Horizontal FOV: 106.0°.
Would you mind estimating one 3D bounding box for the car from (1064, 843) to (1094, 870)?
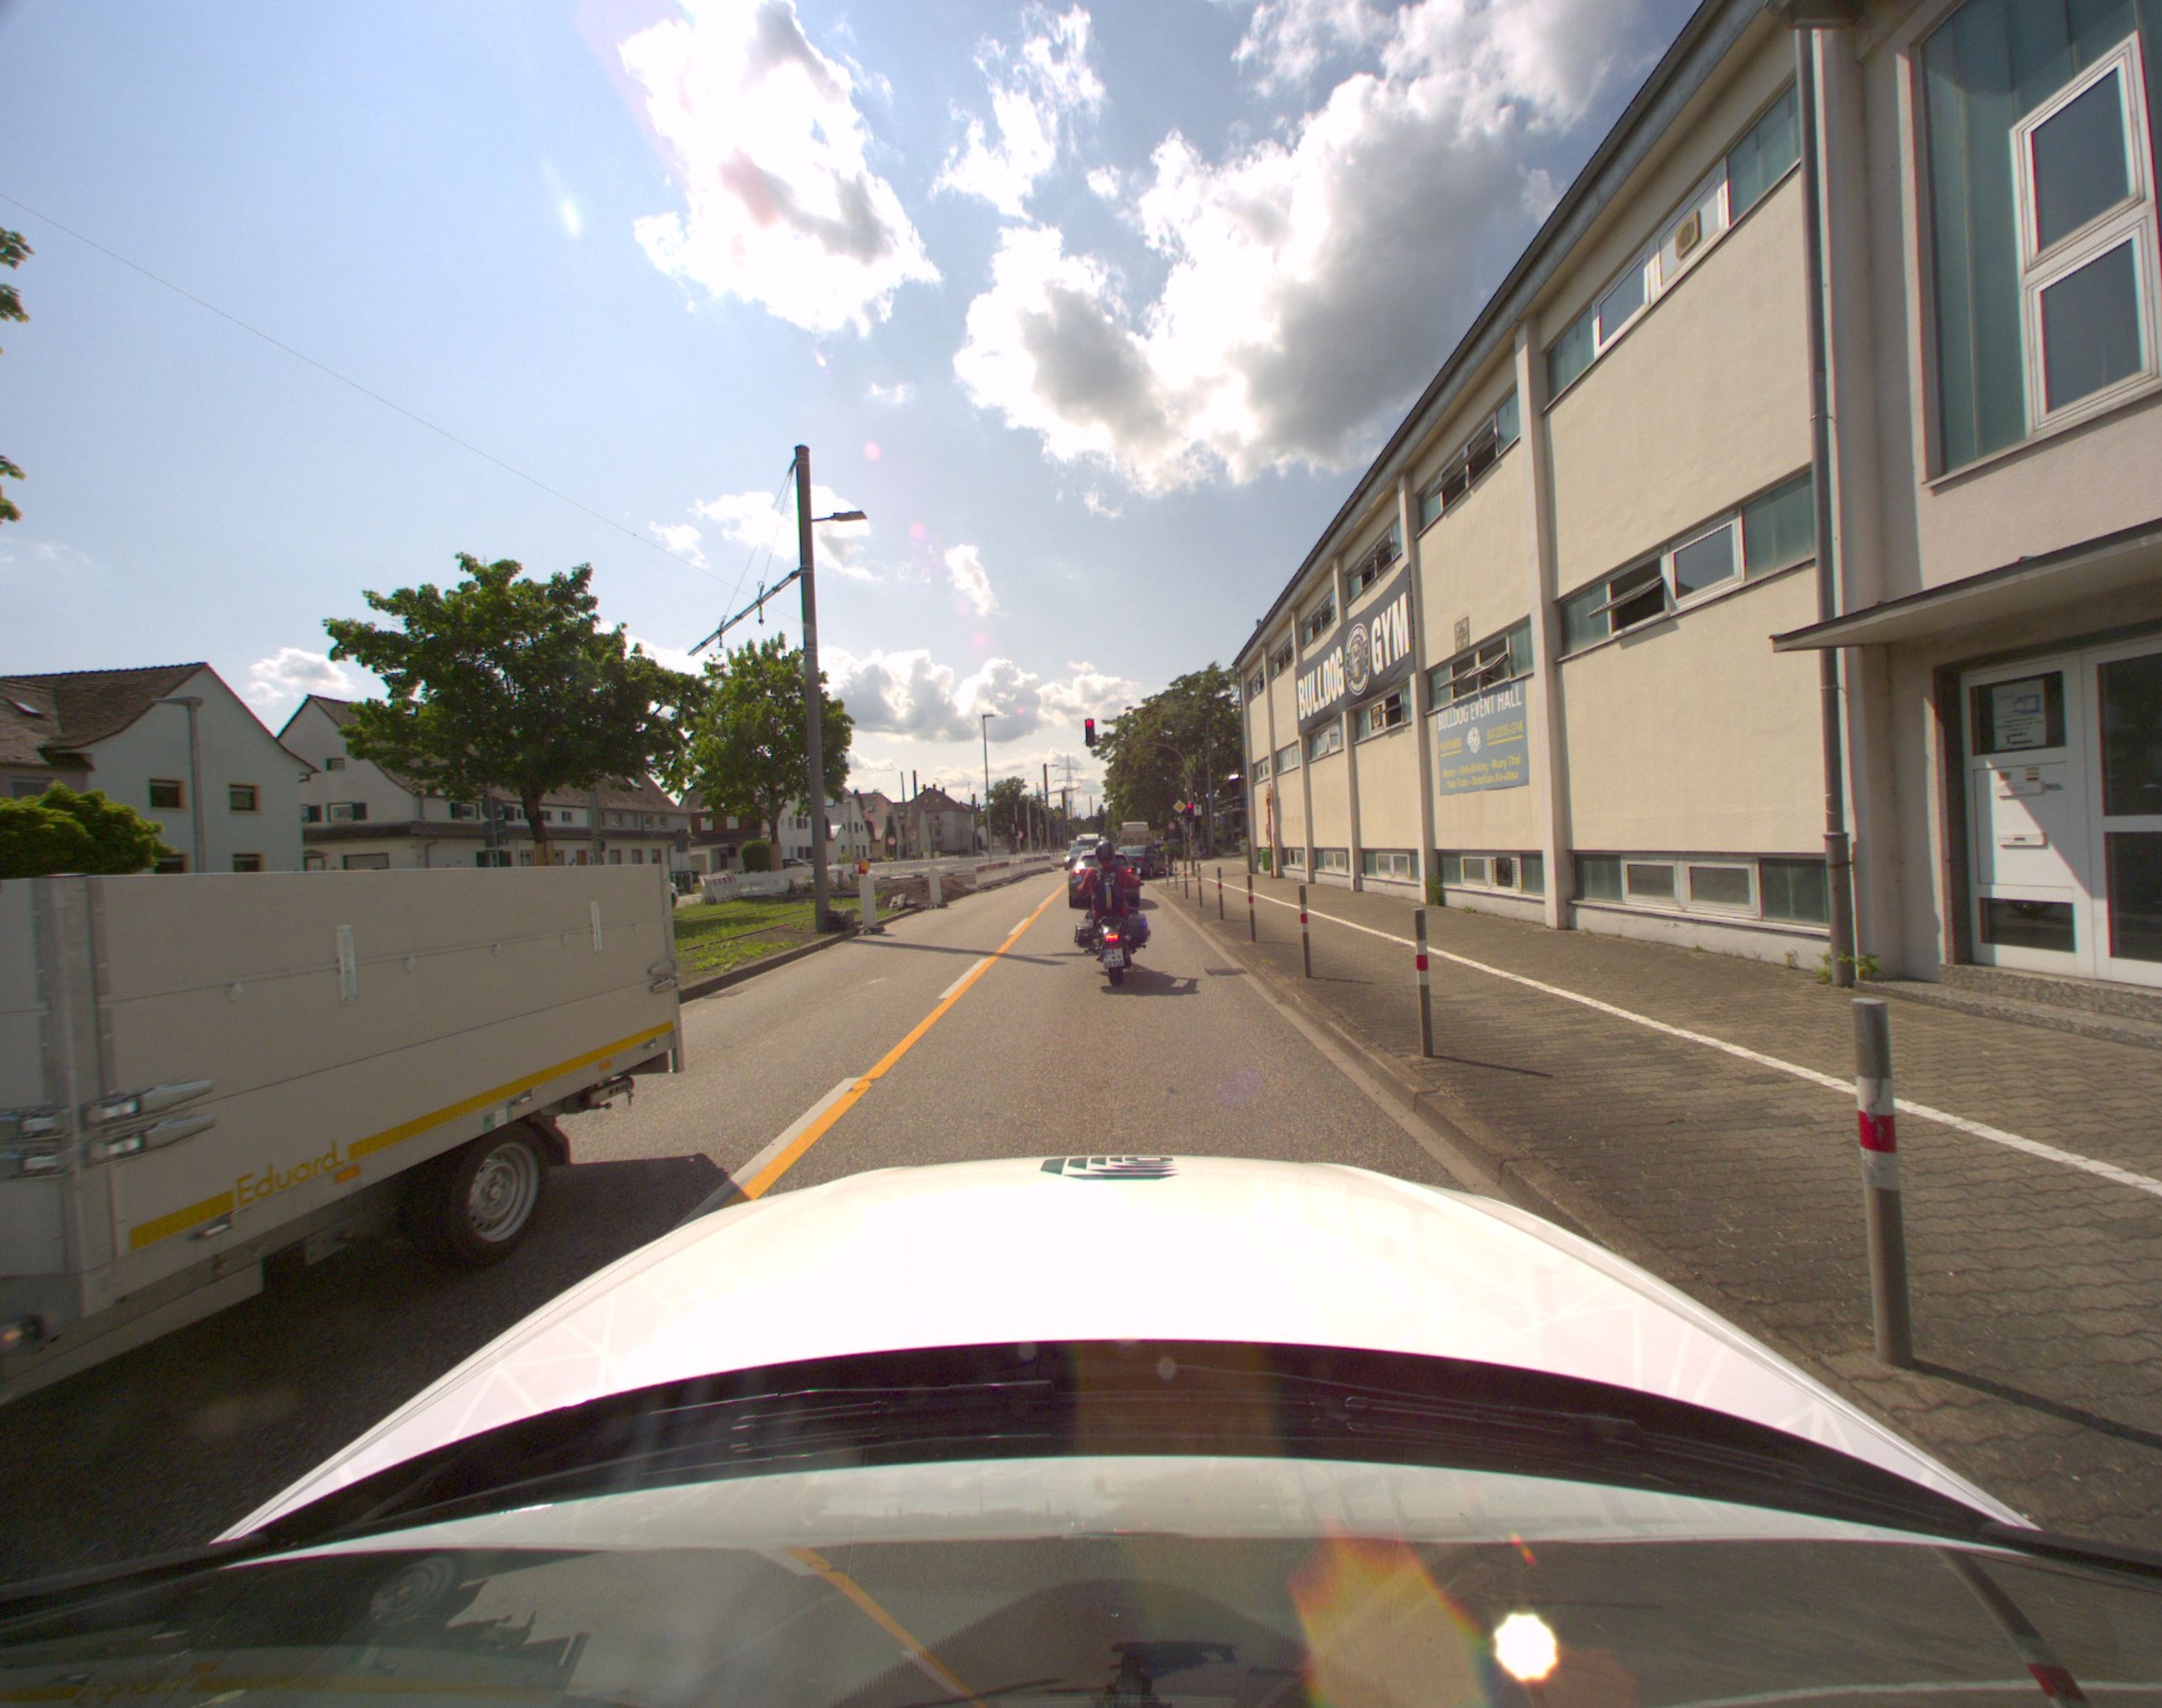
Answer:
[{"bbox_3d":[-0.080,0.126,51.987,1.638,1.498,4.273,-3,1,3],"label":"car"}]

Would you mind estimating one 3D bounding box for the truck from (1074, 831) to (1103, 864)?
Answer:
[{"bbox_3d":[0.695,-0.572,68.504,2.084,2.476,5.200,-5,2,3],"label":"truck"}]

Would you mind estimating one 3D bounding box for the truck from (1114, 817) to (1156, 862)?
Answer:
[{"bbox_3d":[4.155,-1.045,62.120,2.954,3.173,7.774,-1,0,5],"label":"truck"}]

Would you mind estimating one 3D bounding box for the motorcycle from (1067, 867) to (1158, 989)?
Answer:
[{"bbox_3d":[0.381,0.802,9.852,0.939,1.200,2.474,-1,1,2],"label":"motorcycle"}]

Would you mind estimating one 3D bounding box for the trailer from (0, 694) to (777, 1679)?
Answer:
[{"bbox_3d":[-3.061,0.689,2.299,2.055,1.835,5.487,-5,0,2],"label":"trailer"}]

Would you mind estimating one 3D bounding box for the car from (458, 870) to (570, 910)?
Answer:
[{"bbox_3d":[-26.675,1.676,38.412,3.972,1.509,1.726,-3,1,0],"label":"car"}]

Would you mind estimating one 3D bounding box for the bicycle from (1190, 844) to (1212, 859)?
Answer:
[{"bbox_3d":[9.277,-0.203,63.077,1.698,1.172,0.439,-1,0,7],"label":"bicycle"}]

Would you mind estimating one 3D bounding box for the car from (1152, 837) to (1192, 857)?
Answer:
[{"bbox_3d":[9.308,-0.741,83.246,4.023,1.925,1.781,-1,0,-43],"label":"car"}]

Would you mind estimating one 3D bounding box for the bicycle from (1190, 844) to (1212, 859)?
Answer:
[{"bbox_3d":[9.342,-0.204,63.559,1.698,1.172,0.439,-1,0,7],"label":"bicycle"}]

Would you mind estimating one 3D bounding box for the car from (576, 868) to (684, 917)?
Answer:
[{"bbox_3d":[-15.651,1.293,28.503,1.537,1.376,4.246,-4,1,-4],"label":"car"}]

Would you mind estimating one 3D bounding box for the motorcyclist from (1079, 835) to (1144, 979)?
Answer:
[{"bbox_3d":[0.356,0.595,9.496,0.695,1.604,0.692,-1,0,2],"label":"motorcyclist"}]

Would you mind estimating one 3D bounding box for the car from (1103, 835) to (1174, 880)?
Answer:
[{"bbox_3d":[2.710,0.096,36.932,1.885,1.712,4.744,-3,2,20],"label":"car"}]

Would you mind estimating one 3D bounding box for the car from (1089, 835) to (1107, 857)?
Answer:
[{"bbox_3d":[1.671,-0.784,79.991,1.582,2.142,3.629,-1,0,3],"label":"car"}]

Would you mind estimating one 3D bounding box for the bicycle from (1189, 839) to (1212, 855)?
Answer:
[{"bbox_3d":[9.402,-0.555,64.153,1.698,1.172,0.439,-1,0,7],"label":"bicycle"}]

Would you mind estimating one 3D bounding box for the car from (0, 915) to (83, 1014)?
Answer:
[{"bbox_3d":[-16.030,1.655,10.913,1.336,1.325,3.170,-3,1,0],"label":"car"}]

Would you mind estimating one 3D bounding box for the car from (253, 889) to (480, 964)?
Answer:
[{"bbox_3d":[-15.384,1.497,17.829,1.497,1.176,3.750,-3,1,2],"label":"car"}]

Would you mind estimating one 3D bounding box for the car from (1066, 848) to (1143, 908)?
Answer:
[{"bbox_3d":[0.524,0.549,21.581,1.727,1.403,4.083,-1,1,-3],"label":"car"}]
